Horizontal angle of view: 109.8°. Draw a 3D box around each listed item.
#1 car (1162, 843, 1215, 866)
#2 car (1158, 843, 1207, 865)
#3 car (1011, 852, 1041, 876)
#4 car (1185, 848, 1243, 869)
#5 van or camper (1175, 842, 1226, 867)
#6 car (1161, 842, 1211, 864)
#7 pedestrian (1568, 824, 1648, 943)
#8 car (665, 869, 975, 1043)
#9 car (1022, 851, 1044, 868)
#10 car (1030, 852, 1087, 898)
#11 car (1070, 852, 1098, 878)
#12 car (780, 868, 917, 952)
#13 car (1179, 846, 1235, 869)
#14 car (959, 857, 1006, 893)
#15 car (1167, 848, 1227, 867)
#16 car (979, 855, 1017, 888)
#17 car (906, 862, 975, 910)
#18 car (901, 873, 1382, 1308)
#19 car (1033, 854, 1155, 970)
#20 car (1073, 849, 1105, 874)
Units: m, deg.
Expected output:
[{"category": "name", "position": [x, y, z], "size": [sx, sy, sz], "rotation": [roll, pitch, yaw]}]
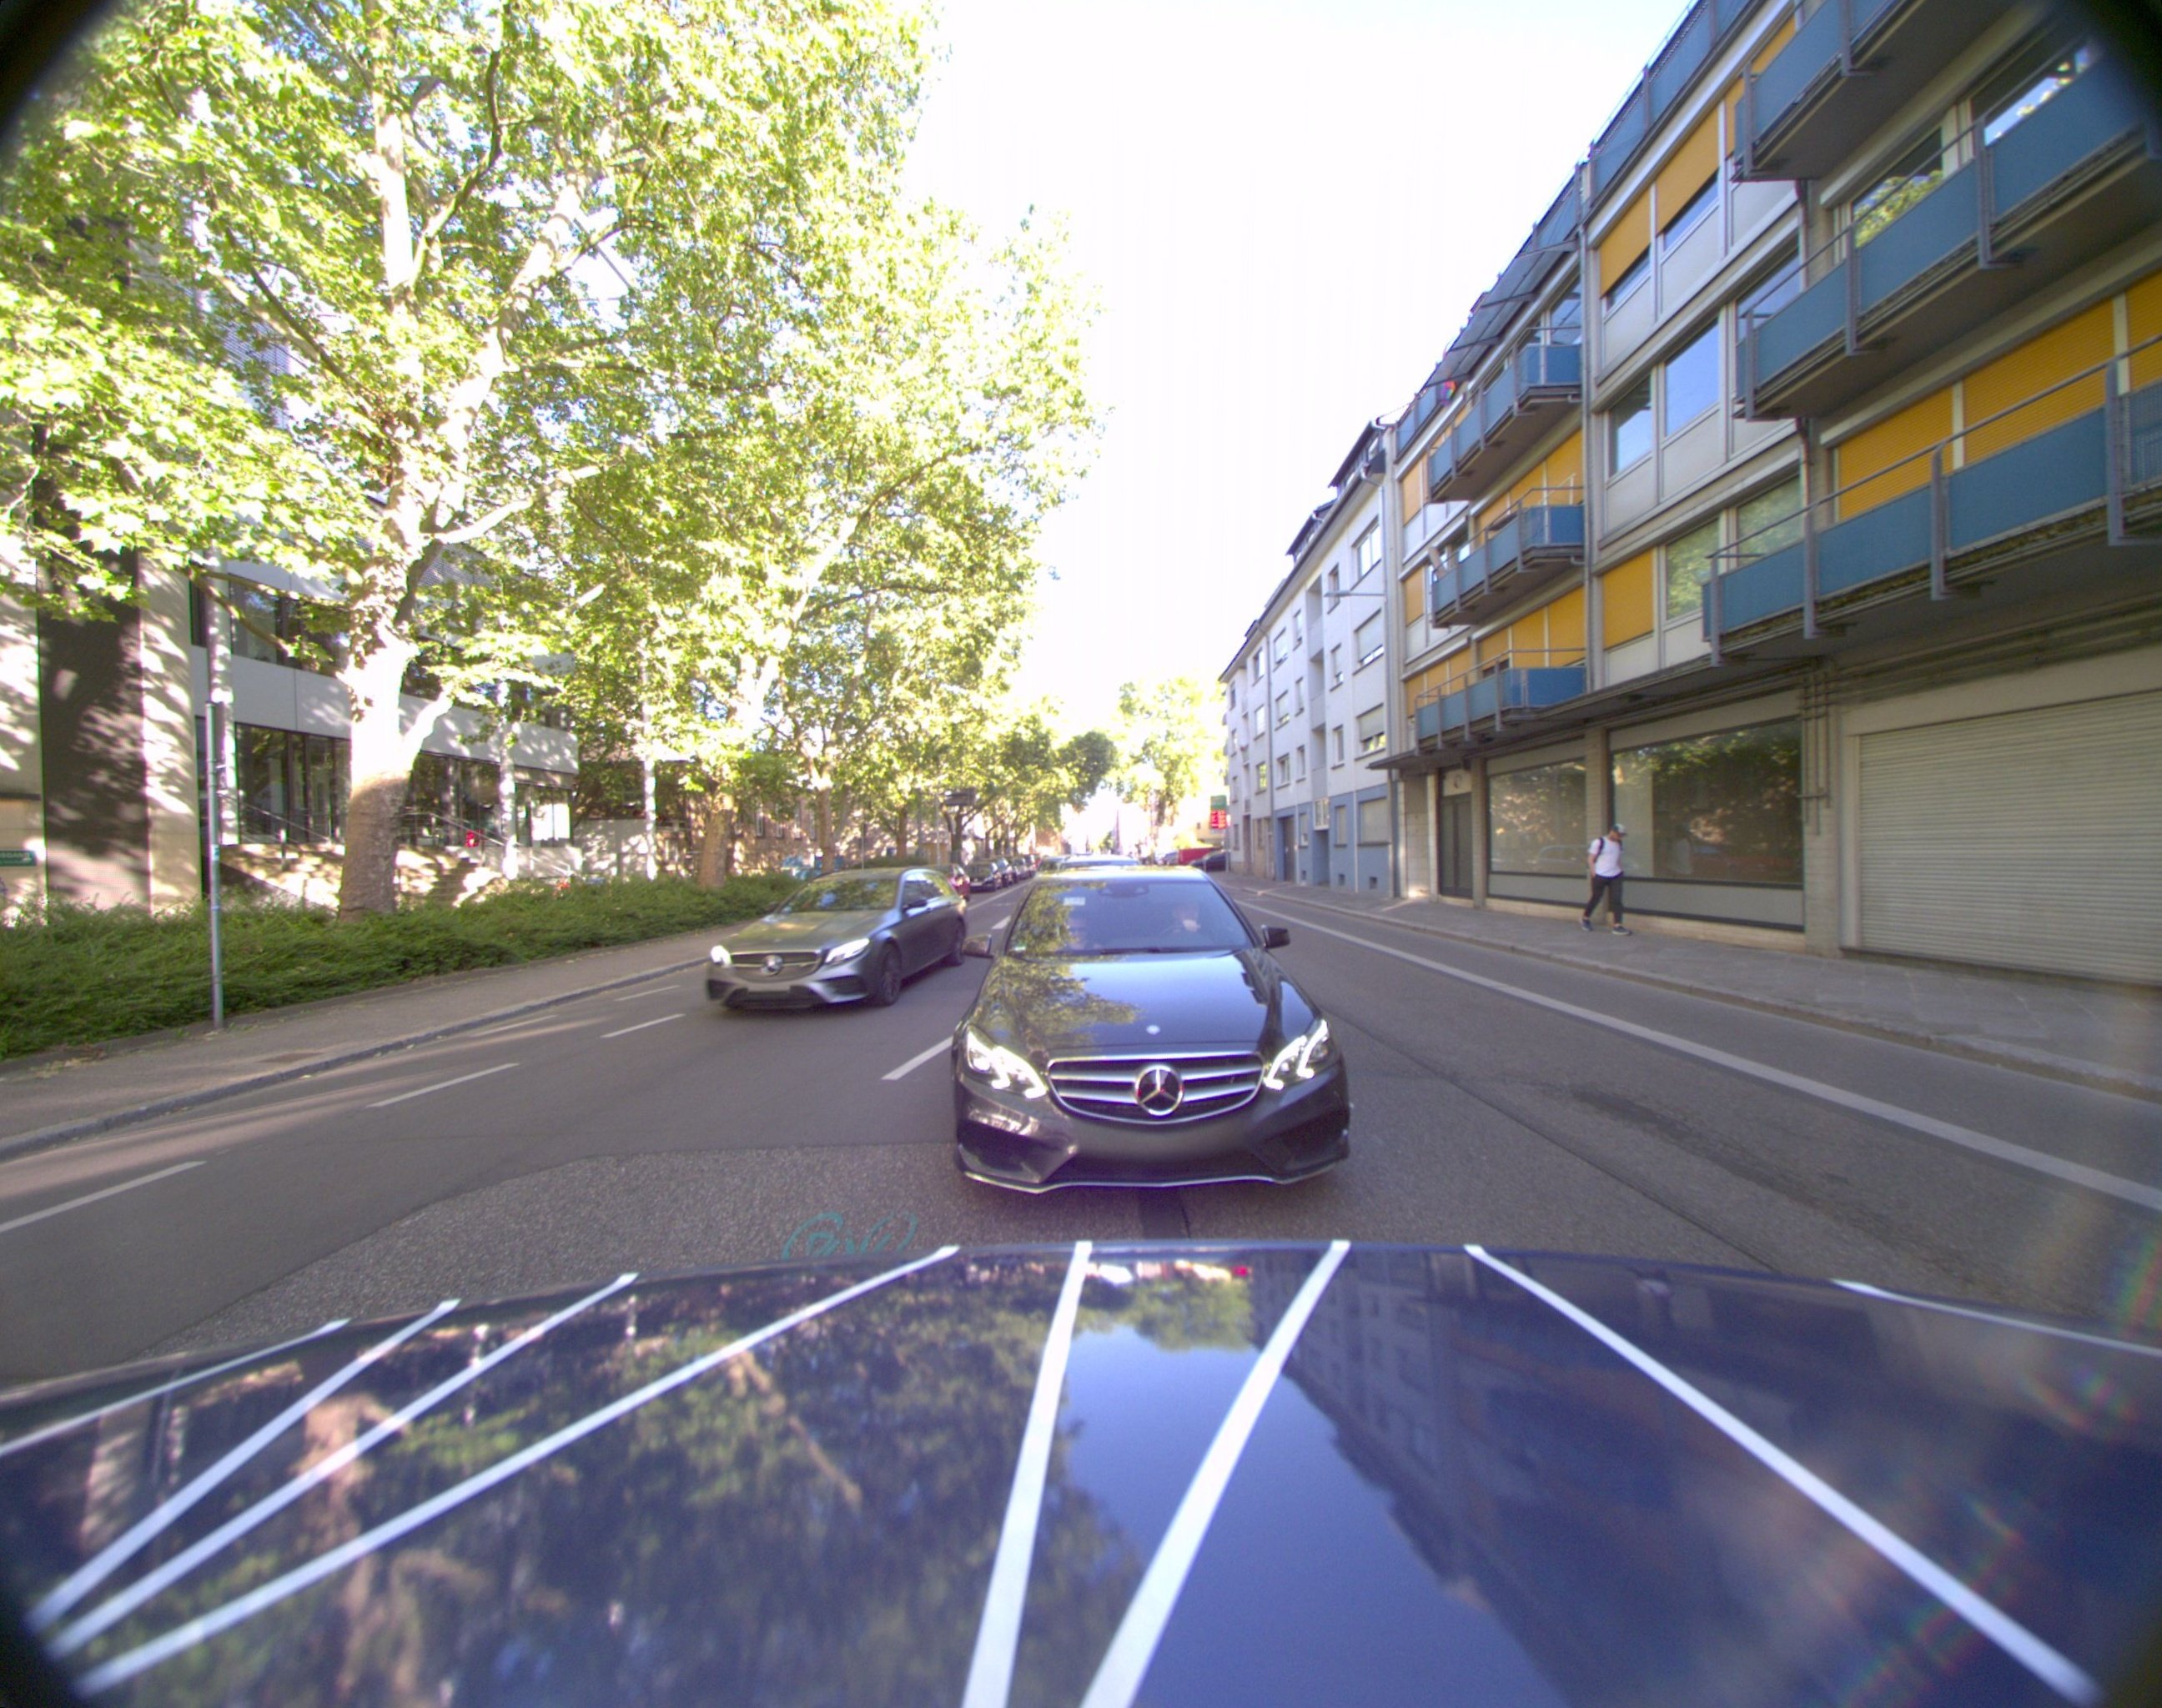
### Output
[{"category": "car", "position": [10.904, 0.046, 77.335], "size": [4.991, 2.181, 2.000], "rotation": [-2, 1, 1]}, {"category": "car", "position": [11.027, 0.013, 82.818], "size": [4.991, 2.181, 2.000], "rotation": [-2, 1, 1]}, {"category": "car", "position": [-4.285, 0.738, 59.488], "size": [1.992, 1.795, 4.376], "rotation": [-2, 0, 0]}, {"category": "car", "position": [10.306, 0.342, 58.957], "size": [4.146, 1.486, 2.000], "rotation": [-2, 0, 1]}, {"category": "van or camper", "position": [10.050, 0.043, 64.195], "size": [3.997, 2.002, 2.000], "rotation": [-2, 1, 0]}, {"category": "car", "position": [11.024, -0.080, 80.187], "size": [4.991, 2.181, 2.000], "rotation": [-2, 1, 1]}, {"category": "pedestrian", "position": [8.367, 0.450, 12.105], "size": [0.600, 1.790, 0.879], "rotation": [-3, 1, 2]}, {"category": "car", "position": [-2.856, 1.039, 9.647], "size": [1.917, 1.456, 4.670], "rotation": [-4, 0, 5]}, {"category": "car", "position": [-4.393, 0.454, 70.440], "size": [1.741, 1.469, 4.091], "rotation": [-2, 0, 0]}, {"category": "car", "position": [-0.771, 0.736, 28.744], "size": [1.705, 1.593, 3.860], "rotation": [-2, 0, 5]}, {"category": "car", "position": [0.199, 0.650, 47.084], "size": [1.648, 1.473, 3.976], "rotation": [-1, 1, 1]}, {"category": "car", "position": [-5.192, 1.184, 17.577], "size": [1.830, 1.519, 4.142], "rotation": [-4, 0, 0]}, {"category": "car", "position": [10.129, 0.288, 61.288], "size": [4.146, 1.681, 2.000], "rotation": [-2, 0, 1]}, {"category": "car", "position": [-4.776, 0.988, 37.418], "size": [1.741, 1.622, 4.091], "rotation": [-2, 0, 0]}, {"category": "car", "position": [10.152, 0.304, 66.697], "size": [4.990, 1.486, 2.000], "rotation": [-2, 0, 1]}, {"category": "car", "position": [-4.573, 0.927, 42.122], "size": [1.634, 1.677, 3.907], "rotation": [-2, 0, 0]}, {"category": "car", "position": [-5.021, 1.105, 27.605], "size": [1.681, 1.484, 3.918], "rotation": [-4, 0, 0]}, {"category": "car", "position": [0.221, 0.924, 4.743], "size": [1.740, 1.448, 3.864], "rotation": [-2, 0, 0]}, {"category": "car", "position": [0.216, 0.820, 13.054], "size": [1.646, 1.520, 4.619], "rotation": [-4, 0, 1]}, {"category": "car", "position": [0.690, 0.584, 59.988], "size": [1.784, 1.760, 4.387], "rotation": [-4, 0, 9]}]
